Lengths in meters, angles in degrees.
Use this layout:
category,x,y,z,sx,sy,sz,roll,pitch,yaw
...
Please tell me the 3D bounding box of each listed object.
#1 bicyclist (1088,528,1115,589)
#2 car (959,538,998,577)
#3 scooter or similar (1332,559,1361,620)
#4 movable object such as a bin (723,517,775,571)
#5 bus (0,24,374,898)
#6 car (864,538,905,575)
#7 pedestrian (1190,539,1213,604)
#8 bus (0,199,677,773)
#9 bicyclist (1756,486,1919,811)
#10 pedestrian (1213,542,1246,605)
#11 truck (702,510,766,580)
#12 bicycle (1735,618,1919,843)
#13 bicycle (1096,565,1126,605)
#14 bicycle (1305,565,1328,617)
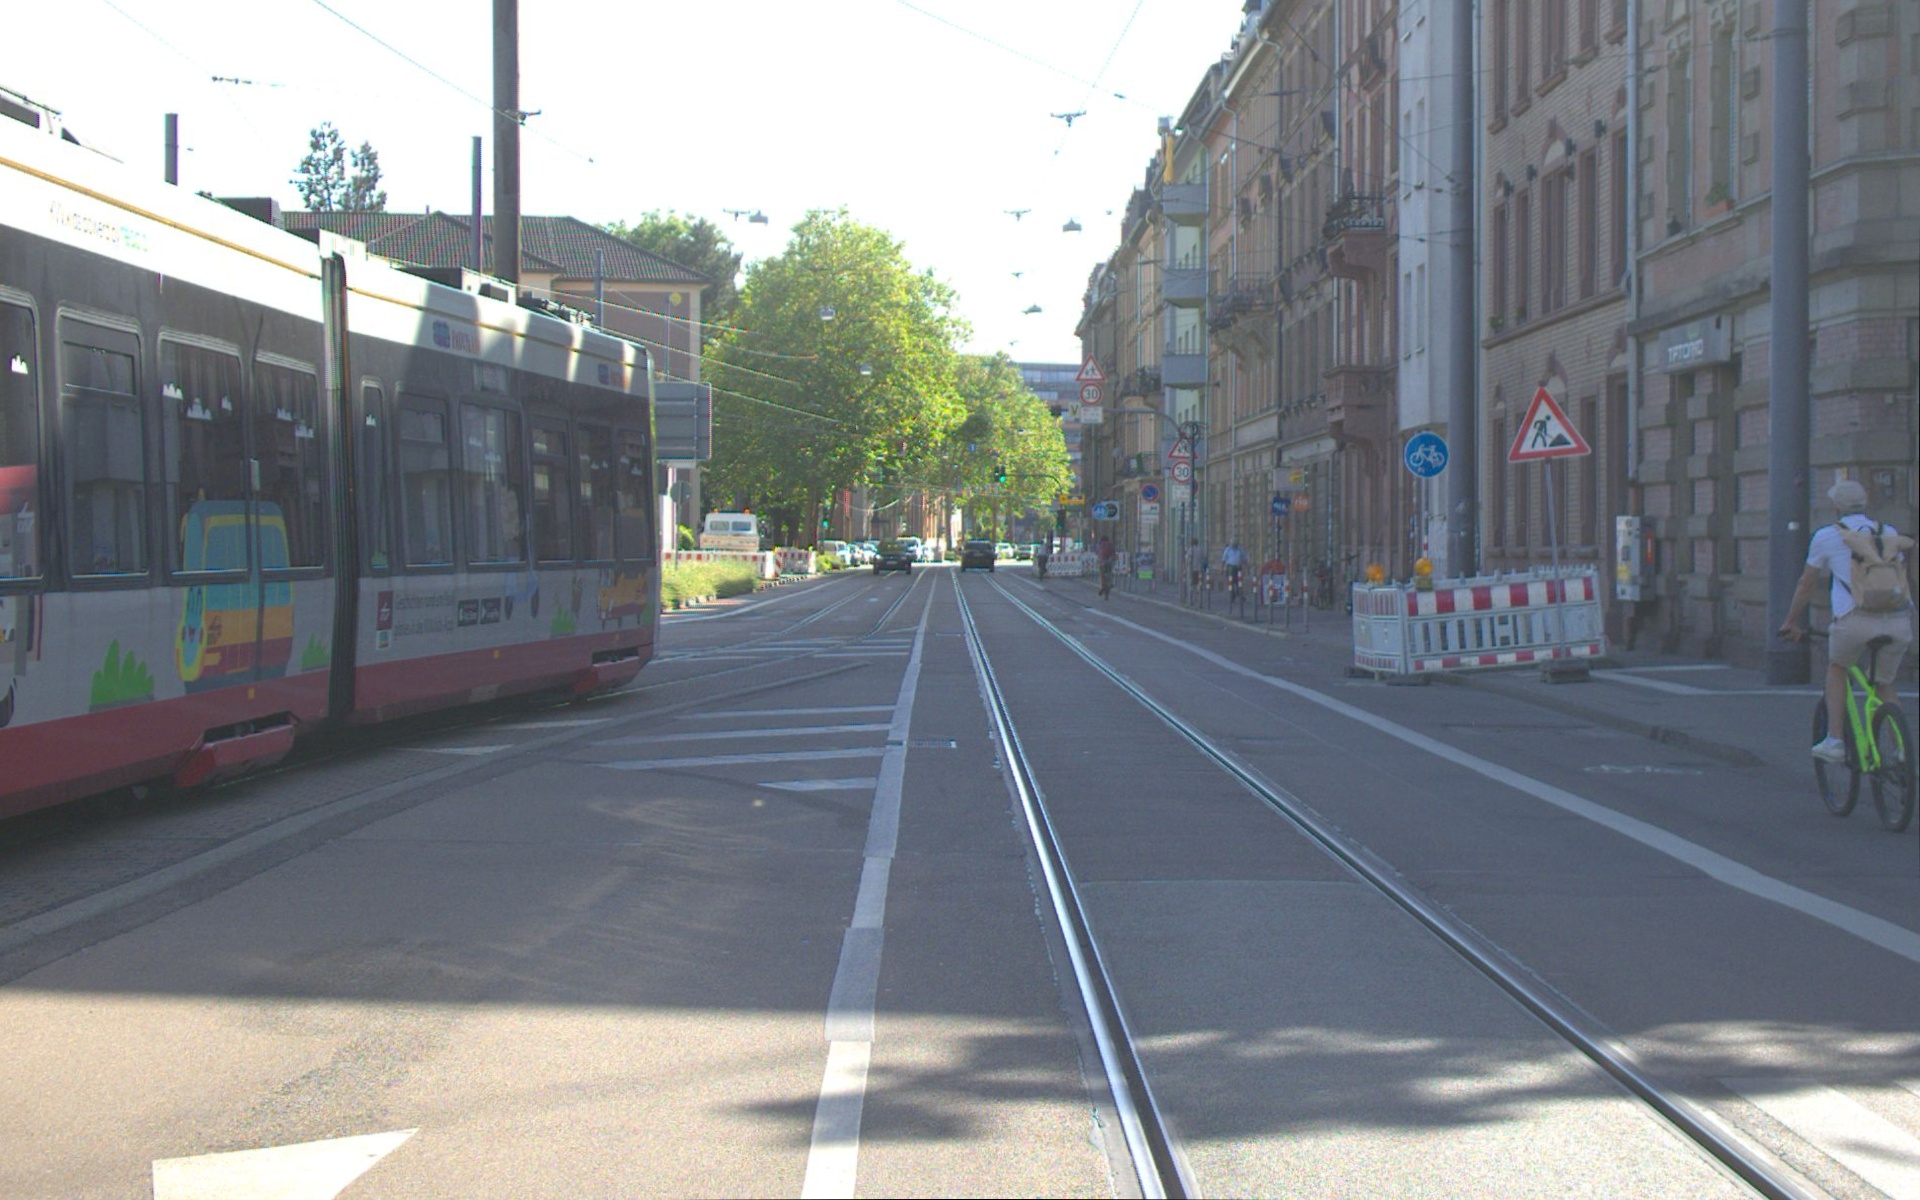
category,x,y,z,sx,sy,sz,roll,pitch,yaw
bicyclist,4.019,-1.176,97.735,0.667,1.691,1.043,2,0,-1
car,1.012,-2.268,185.597,1.993,2.007,4.000,2,0,0
scooter or similar,7.781,-0.216,69.189,0.406,1.207,1.480,-1,0,0
movable object such as a bin,-10.838,-2.894,177.105,2.495,2.636,5.990,2,1,-3
bus,-5.286,-0.614,16.269,2.841,3.577,10.726,1,1,2
car,-3.596,-2.055,165.140,1.759,1.691,4.144,2,0,1
pedestrian,6.362,-0.760,90.614,0.553,1.695,0.473,-2,0,7
bus,-4.621,-0.811,27.237,2.841,3.577,11.269,1,1,5
bicyclist,4.800,0.253,18.485,0.681,1.678,1.120,2,0,-3
pedestrian,6.906,-0.676,88.111,0.798,1.599,0.652,0,0,2
truck,-9.606,-2.302,145.999,2.537,2.820,6.377,2,0,-4
bicycle,4.817,0.682,18.742,0.531,1.113,1.934,2,1,-6
bicycle,4.278,-0.427,97.564,0.681,1.110,2.707,2,1,-1
bicycle,7.788,-0.193,75.196,0.410,1.117,1.897,-1,0,4
